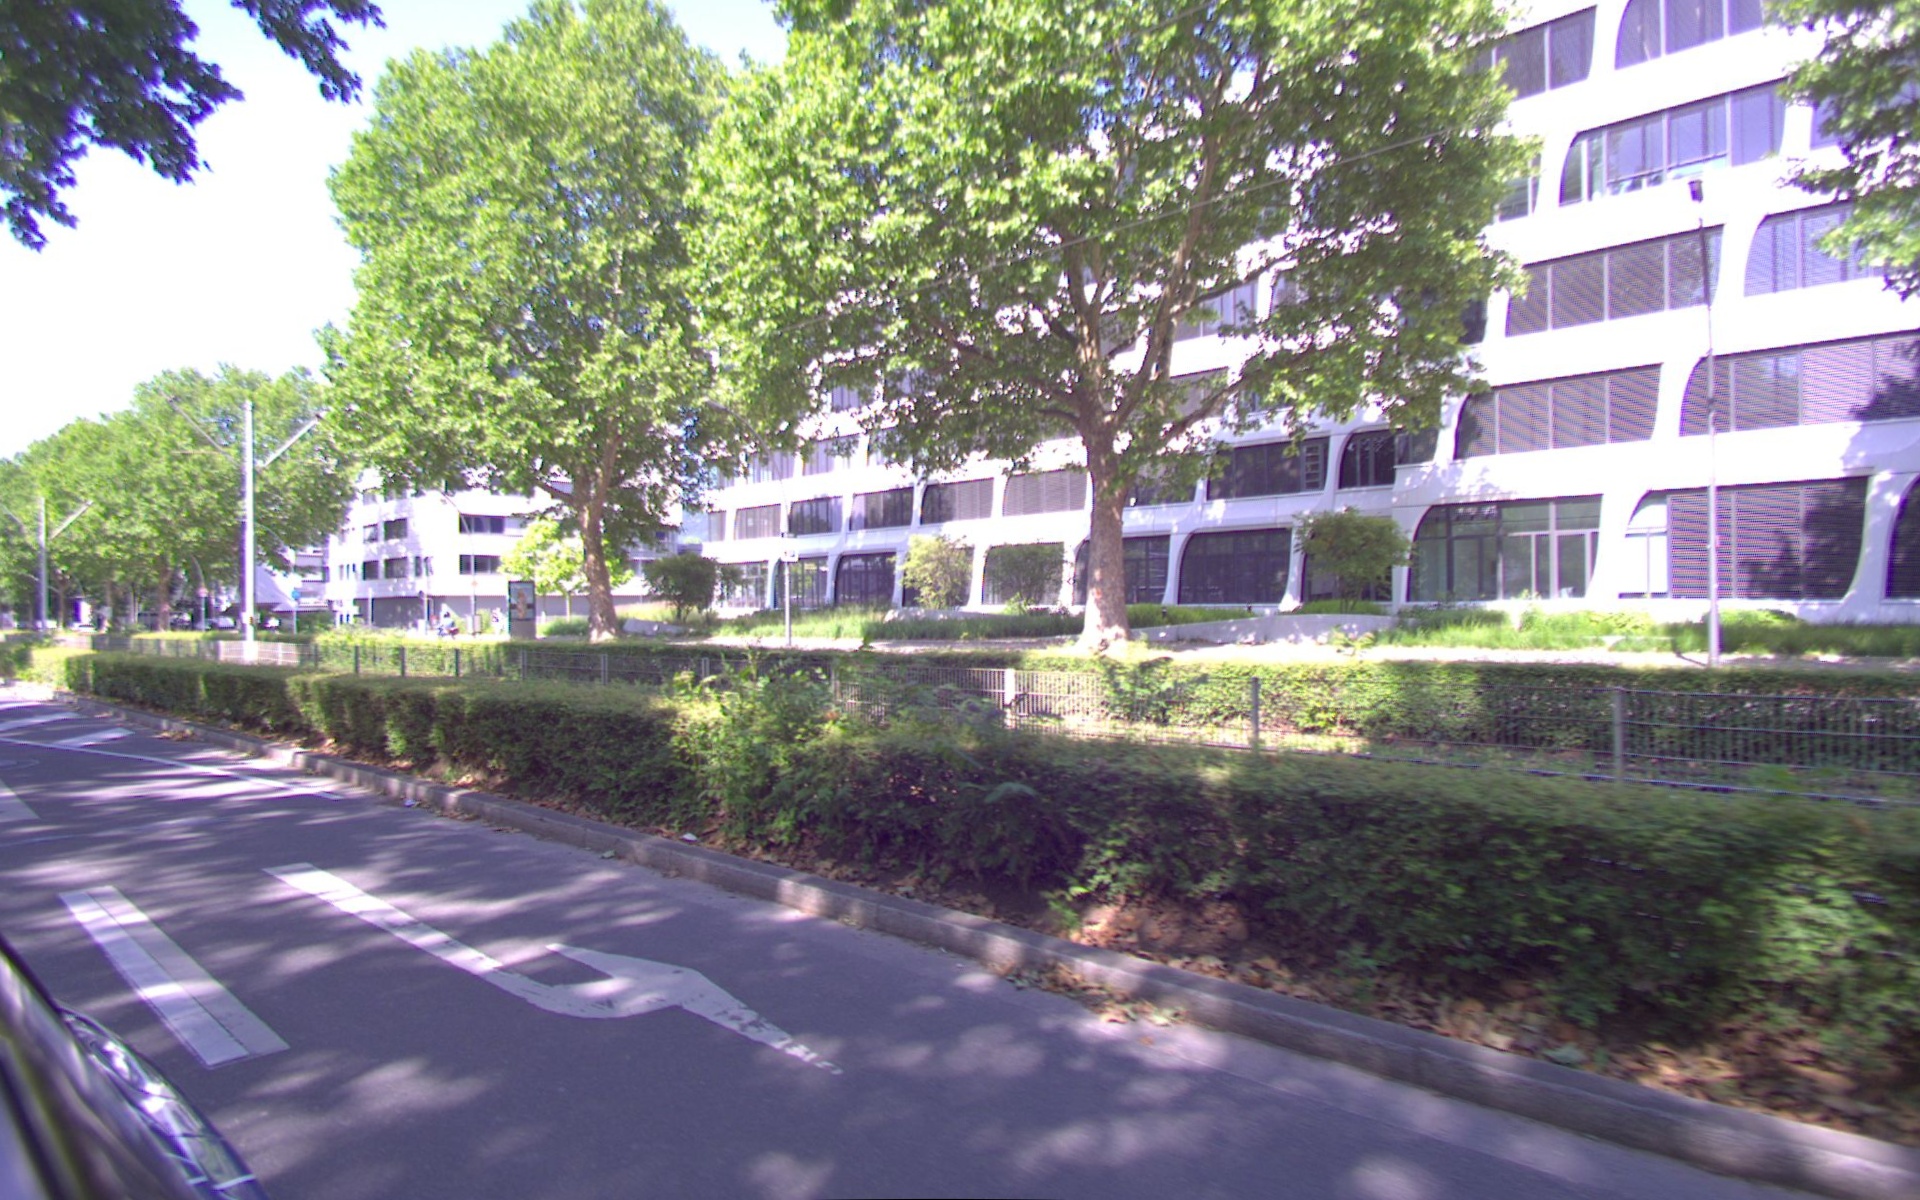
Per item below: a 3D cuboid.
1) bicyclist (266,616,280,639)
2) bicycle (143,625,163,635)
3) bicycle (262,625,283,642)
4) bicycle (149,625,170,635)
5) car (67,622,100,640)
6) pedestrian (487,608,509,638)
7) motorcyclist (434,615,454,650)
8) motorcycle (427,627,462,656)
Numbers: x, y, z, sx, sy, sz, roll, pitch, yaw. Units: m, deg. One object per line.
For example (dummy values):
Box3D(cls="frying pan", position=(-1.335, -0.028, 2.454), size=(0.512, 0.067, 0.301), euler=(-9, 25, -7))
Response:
Box3D(cls="bicyclist", position=(-46.531, 1.862, 68.518), size=(0.641, 1.546, 0.647), euler=(-2, -1, 42))
Box3D(cls="bicycle", position=(-91.972, 3.449, 115.290), size=(0.421, 1.111, 1.748), euler=(-2, -1, 39))
Box3D(cls="bicycle", position=(-46.558, 2.244, 68.532), size=(2.030, 1.133, 0.657), euler=(-2, 0, 42))
Box3D(cls="bicycle", position=(-90.055, 3.402, 113.876), size=(0.421, 1.111, 1.748), euler=(-2, -1, 39))
Box3D(cls="car", position=(-80.473, 2.876, 92.893), size=(4.017, 1.581, 1.738), euler=(-2, 0, 42))
Box3D(cls="pedestrian", position=(-24.674, 1.224, 54.075), size=(1.014, 1.600, 0.712), euler=(-1, 0, 42))
Box3D(cls="motorcyclist", position=(-21.841, 1.377, 42.842), size=(0.533, 1.468, 0.575), euler=(-2, -1, 41))
Box3D(cls="motorcycle", position=(-21.847, 1.748, 42.858), size=(1.999, 1.184, 0.626), euler=(-2, -1, 42))
